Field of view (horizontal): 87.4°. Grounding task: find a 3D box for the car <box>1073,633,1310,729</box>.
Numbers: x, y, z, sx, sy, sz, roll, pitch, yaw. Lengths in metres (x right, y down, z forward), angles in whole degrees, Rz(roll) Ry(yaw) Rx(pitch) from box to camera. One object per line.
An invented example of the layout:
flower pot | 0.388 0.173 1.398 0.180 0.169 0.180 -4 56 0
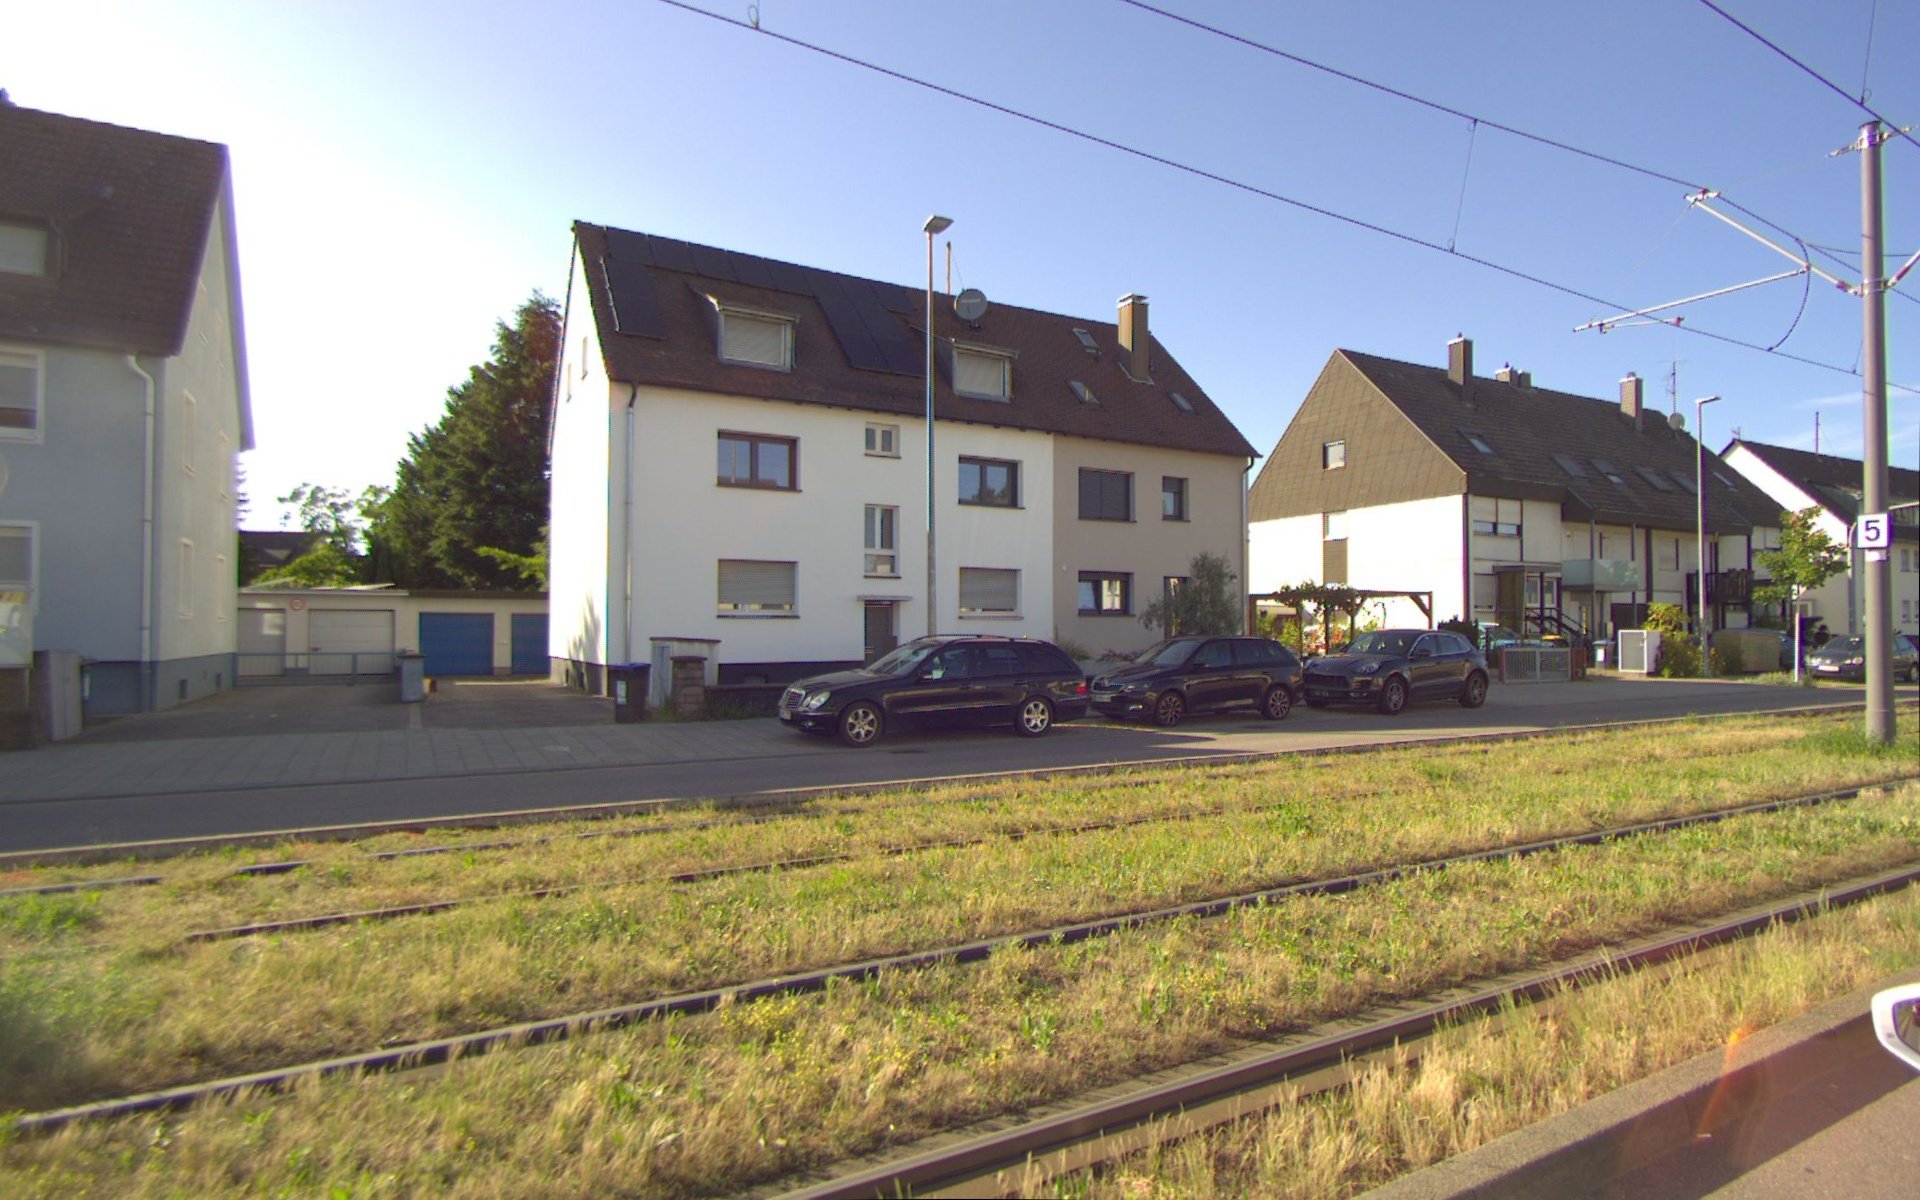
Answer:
car | 4.112 1.349 17.677 4.149 1.494 1.514 1 -1 -29

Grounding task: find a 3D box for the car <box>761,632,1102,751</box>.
car | -0.386 1.277 15.134 4.817 1.543 1.870 1 -1 -27

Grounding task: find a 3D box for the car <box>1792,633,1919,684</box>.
car | 27.365 1.745 30.645 3.666 1.472 1.614 0 -2 -25

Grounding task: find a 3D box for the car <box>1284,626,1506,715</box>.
car | 8.864 1.343 20.356 4.759 1.618 1.793 1 -2 -33

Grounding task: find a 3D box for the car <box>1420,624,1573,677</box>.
car | 17.516 1.619 32.988 1.740 1.638 4.142 1 -2 -32

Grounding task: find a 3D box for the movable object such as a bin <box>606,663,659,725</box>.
movable object such as a bin | -5.165 1.476 15.831 0.696 0.939 0.386 3 -3 -31

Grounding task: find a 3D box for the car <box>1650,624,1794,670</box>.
car | 27.754 1.706 36.681 1.718 1.588 3.876 1 -3 -36

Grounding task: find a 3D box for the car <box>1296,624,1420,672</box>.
car | 14.752 1.752 37.451 1.832 1.676 4.145 1 -2 -26

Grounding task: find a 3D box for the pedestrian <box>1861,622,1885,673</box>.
pedestrian | 31.992 1.651 35.191 0.529 1.769 0.466 1 -2 -30
